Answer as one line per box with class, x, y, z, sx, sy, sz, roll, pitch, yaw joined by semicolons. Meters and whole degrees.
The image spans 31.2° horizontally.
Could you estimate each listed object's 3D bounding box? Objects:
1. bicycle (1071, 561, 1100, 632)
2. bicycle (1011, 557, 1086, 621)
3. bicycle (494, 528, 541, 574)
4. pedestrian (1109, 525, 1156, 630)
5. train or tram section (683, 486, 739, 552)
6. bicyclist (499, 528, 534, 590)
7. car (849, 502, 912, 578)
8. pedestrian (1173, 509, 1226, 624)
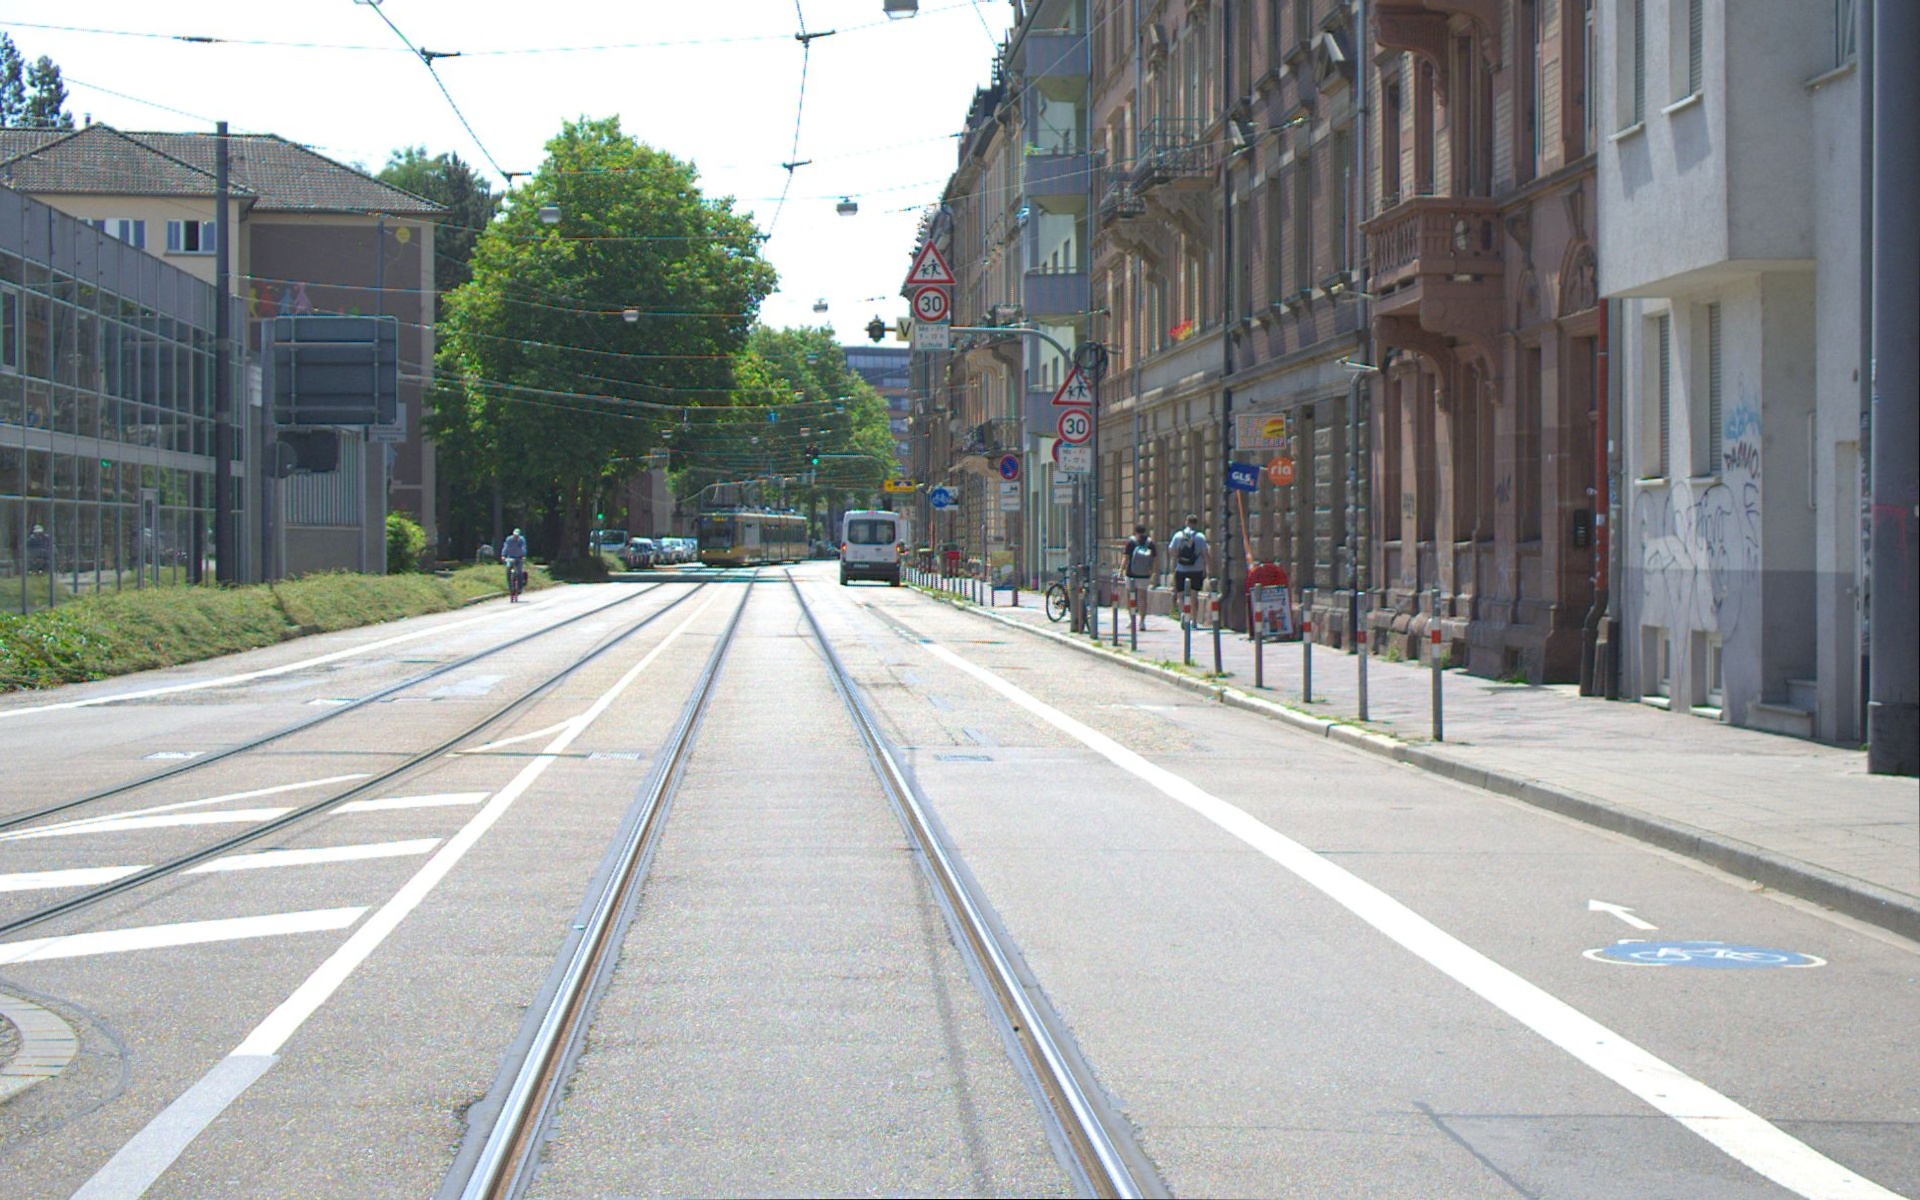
bicycle;2.039;-0.066;55.665;0.447;1.093;2.423;-1;1;2
bicycle;1.642;-0.213;63.352;0.499;1.127;2.240;0;1;26
bicycle;-11.088;-1.237;86.236;0.698;1.140;2.495;0;1;3
pedestrian;2.842;-0.381;56.719;0.720;1.714;0.644;0;1;-2
train or tram section;-13.943;-4.533;193.186;2.960;3.568;13.425;0;1;-3
bicyclist;-11.105;-1.024;86.069;0.698;1.543;0.980;0;1;3
car;-2.748;-2.053;117.476;2.067;2.492;5.455;1;1;-2
pedestrian;3.943;-0.554;56.626;0.702;1.842;0.644;-4;1;-2
